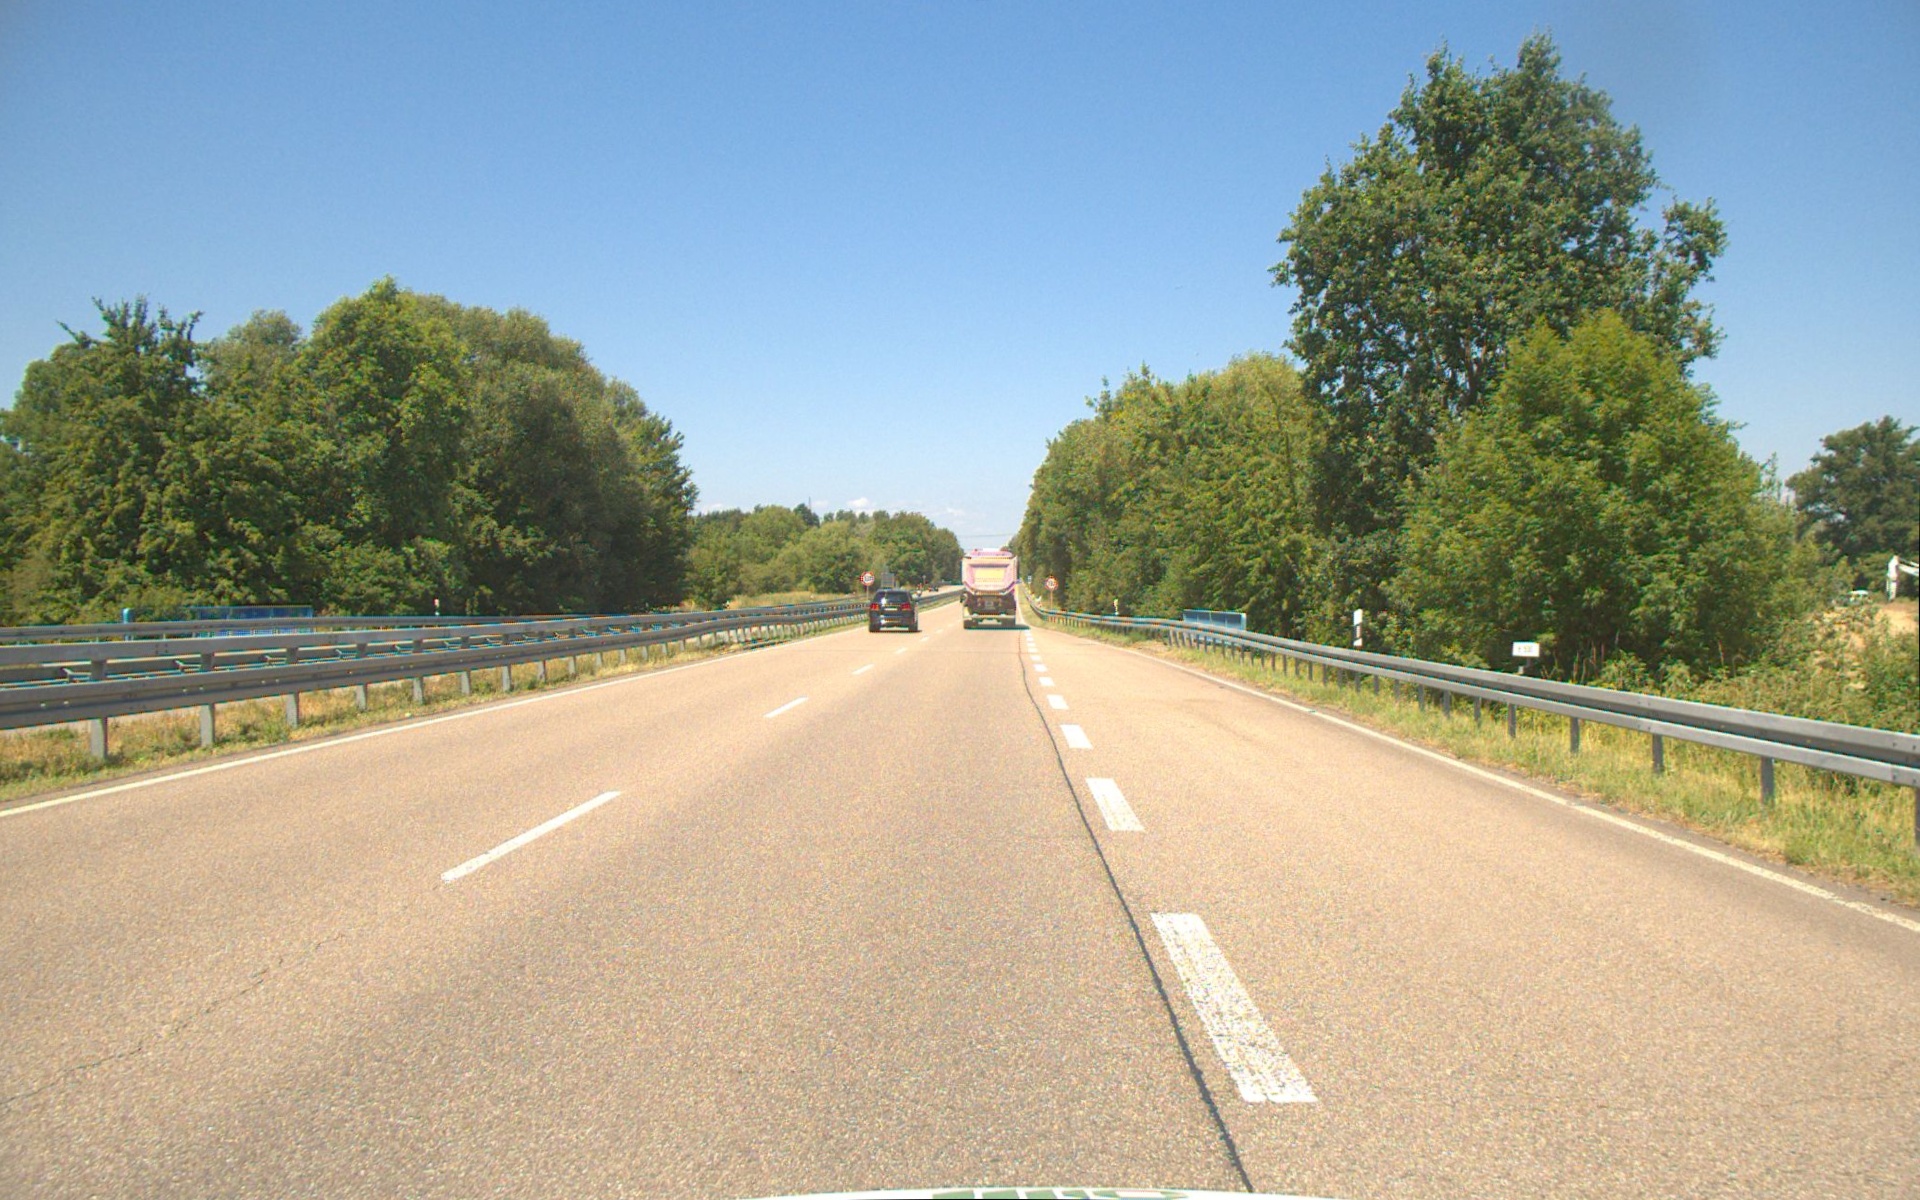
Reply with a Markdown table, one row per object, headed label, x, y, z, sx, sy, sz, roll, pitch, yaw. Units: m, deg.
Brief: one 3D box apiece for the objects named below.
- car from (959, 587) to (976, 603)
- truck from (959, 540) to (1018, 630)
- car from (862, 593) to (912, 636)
| label | x | y | z | sx | sy | sz | roll | pitch | yaw |
| --- | --- | --- | --- | --- | --- | --- | --- | --- | --- |
| car | 0.867 | -0.511 | 185.775 | 1.819 | 1.748 | 4.000 | 0 | -1 | 1 |
| truck | 1.400 | -0.774 | 80.120 | 2.664 | 3.998 | 12.373 | 0 | 1 | 1 |
| car | -3.001 | 0.605 | 68.835 | 1.819 | 1.700 | 4.000 | 0 | -1 | 1 |
